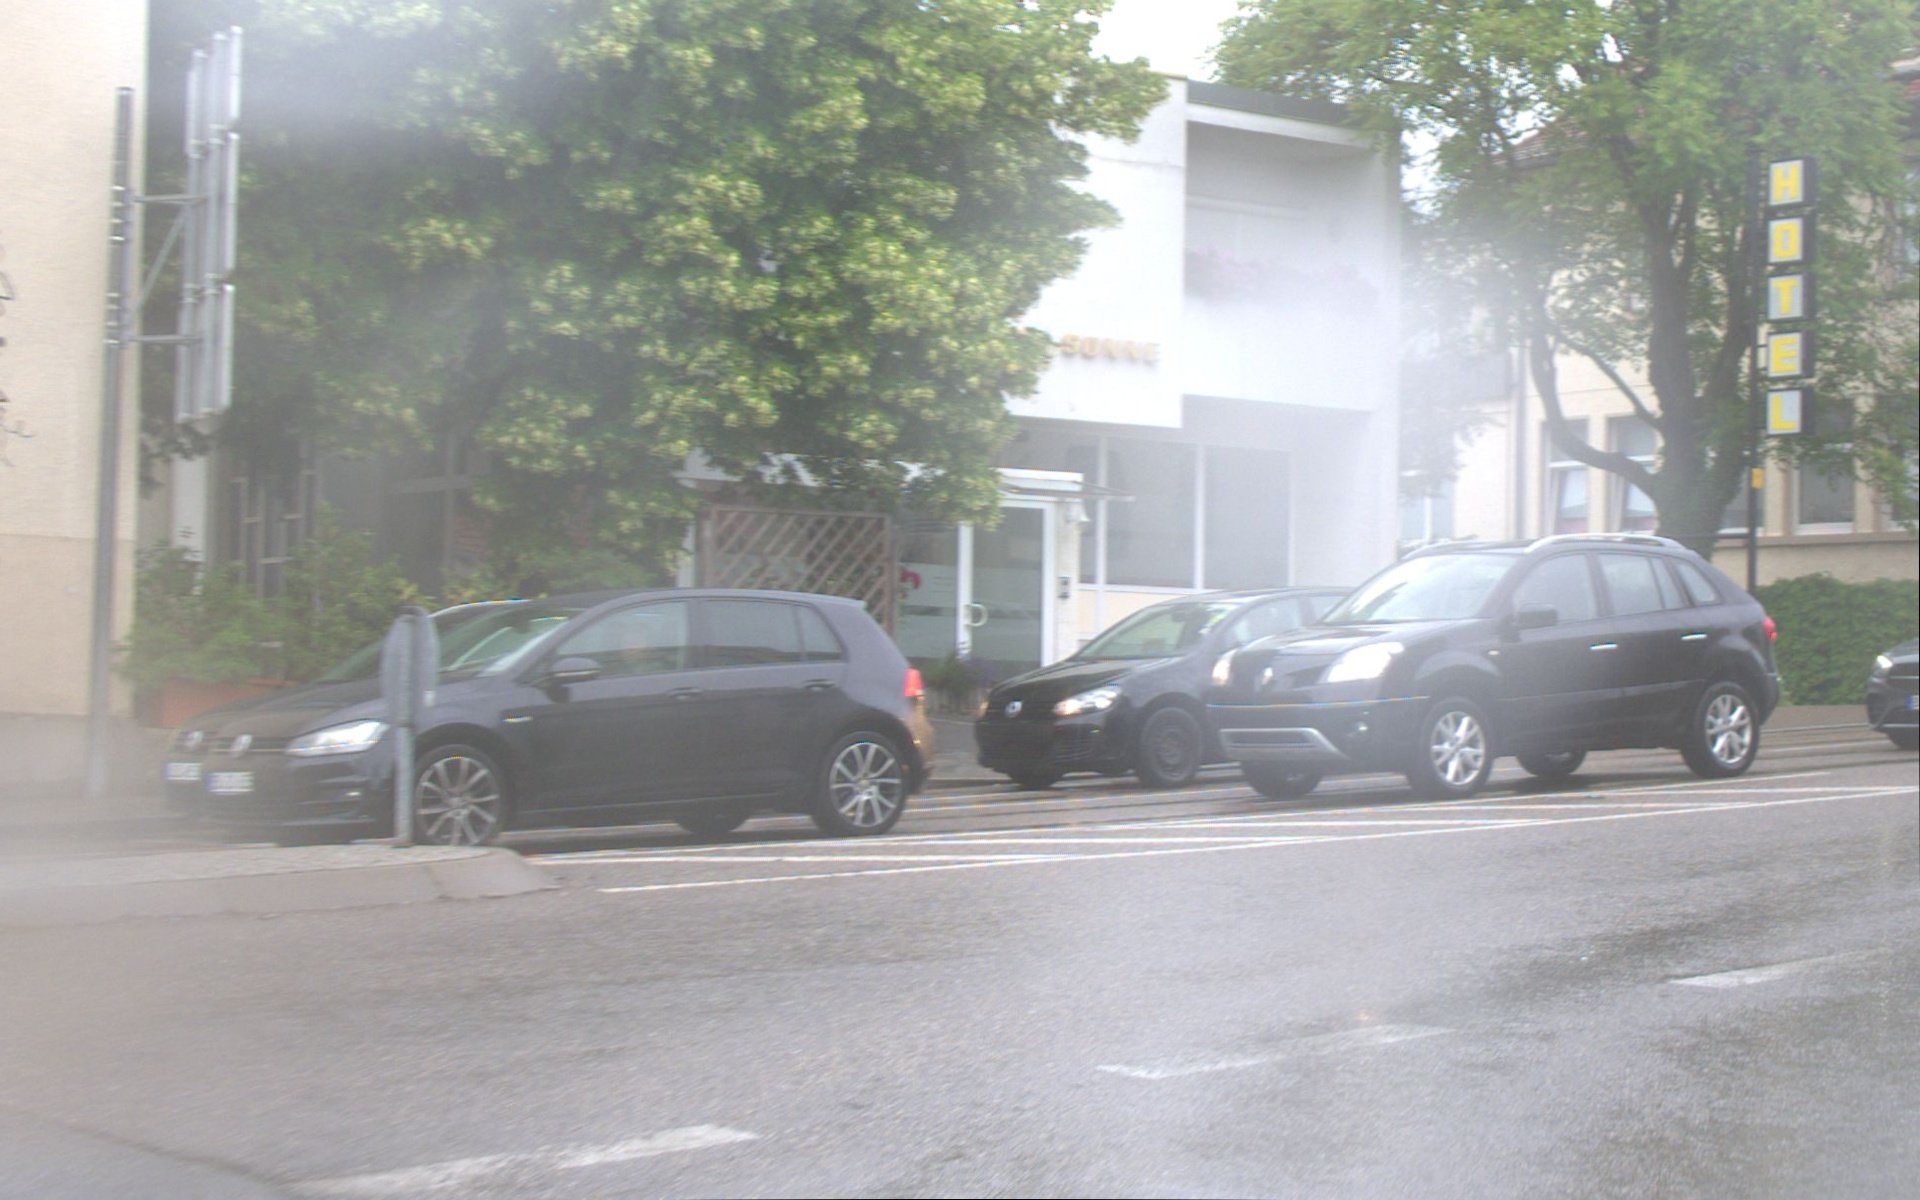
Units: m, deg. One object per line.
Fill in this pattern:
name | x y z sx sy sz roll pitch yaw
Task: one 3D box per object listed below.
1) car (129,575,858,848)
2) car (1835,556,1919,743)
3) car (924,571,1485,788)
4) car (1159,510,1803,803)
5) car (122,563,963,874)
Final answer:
car | -2.875 0.660 21.630 4.173 1.513 1.778 -1 -1 -38
car | 9.283 0.340 27.905 4.526 1.447 1.778 -1 -1 -38
car | 1.940 0.591 26.638 4.173 1.513 1.778 -1 -1 -38
car | 3.579 0.345 23.257 4.303 1.809 1.778 -1 -1 -38
car | -2.230 0.602 19.042 4.303 1.499 1.778 -1 -1 -39
